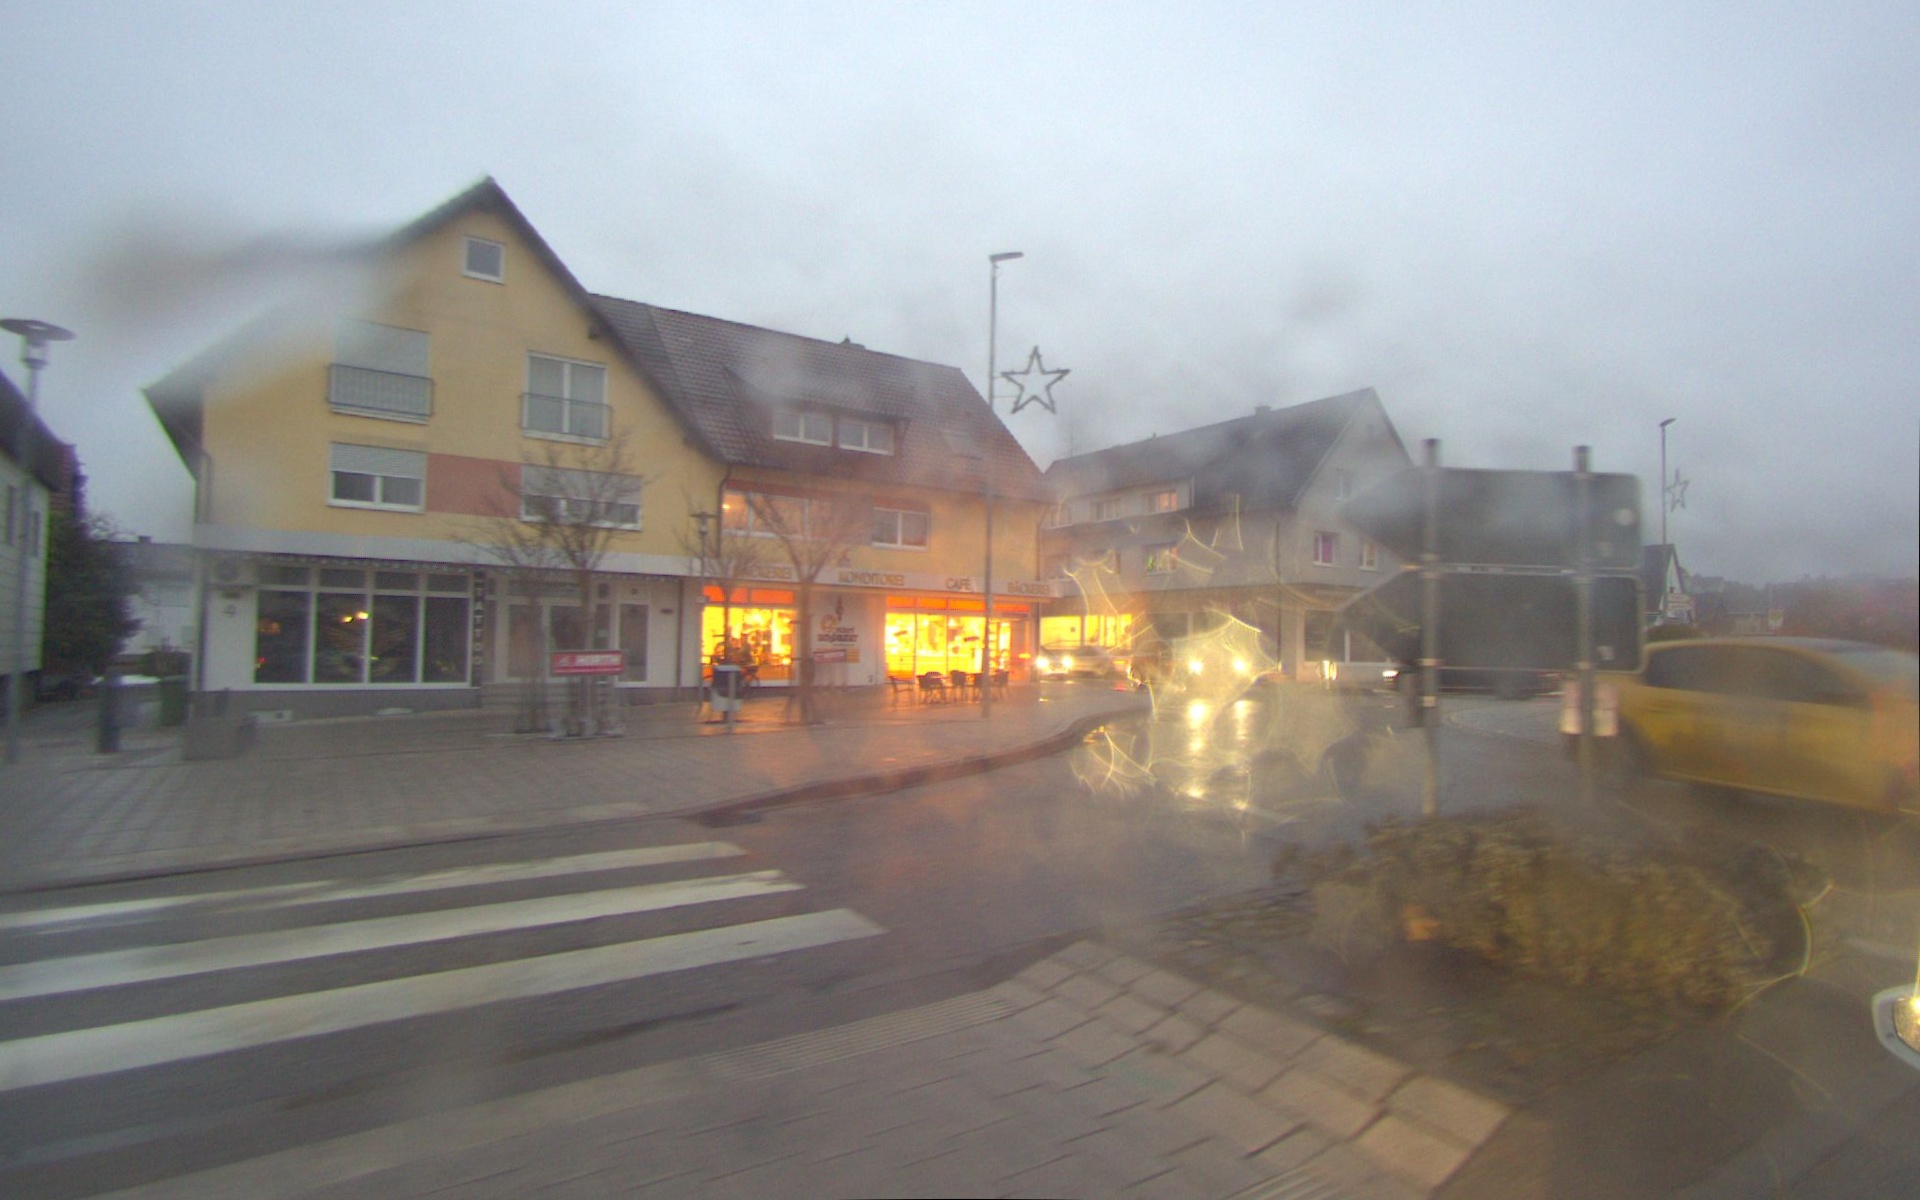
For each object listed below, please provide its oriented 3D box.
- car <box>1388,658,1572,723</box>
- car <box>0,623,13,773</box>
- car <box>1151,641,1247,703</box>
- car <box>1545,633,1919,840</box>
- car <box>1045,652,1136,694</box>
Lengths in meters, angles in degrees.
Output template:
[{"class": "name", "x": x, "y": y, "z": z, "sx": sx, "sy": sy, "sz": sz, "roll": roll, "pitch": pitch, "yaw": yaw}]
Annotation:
[{"class": "car", "x": 15.075, "y": 2.565, "z": 29.359, "sx": 1.881, "sy": 1.632, "sz": 4.458, "roll": 2, "pitch": -2, "yaw": -34}, {"class": "car", "x": -11.482, "y": 0.920, "z": 8.816, "sx": 1.876, "sy": 1.551, "sz": 4.182, "roll": 0, "pitch": -3, "yaw": 19}, {"class": "car", "x": 7.278, "y": 2.145, "z": 31.064, "sx": 1.915, "sy": 1.614, "sz": 4.633, "roll": 1, "pitch": -1, "yaw": 1}, {"class": "car", "x": 7.204, "y": 1.012, "z": 8.272, "sx": 1.689, "sy": 1.440, "sz": 3.995, "roll": 1, "pitch": -2, "yaw": -20}, {"class": "car", "x": 5.684, "y": 3.148, "z": 44.156, "sx": 1.688, "sy": 1.684, "sz": 4.027, "roll": 2, "pitch": -2, "yaw": -36}]
